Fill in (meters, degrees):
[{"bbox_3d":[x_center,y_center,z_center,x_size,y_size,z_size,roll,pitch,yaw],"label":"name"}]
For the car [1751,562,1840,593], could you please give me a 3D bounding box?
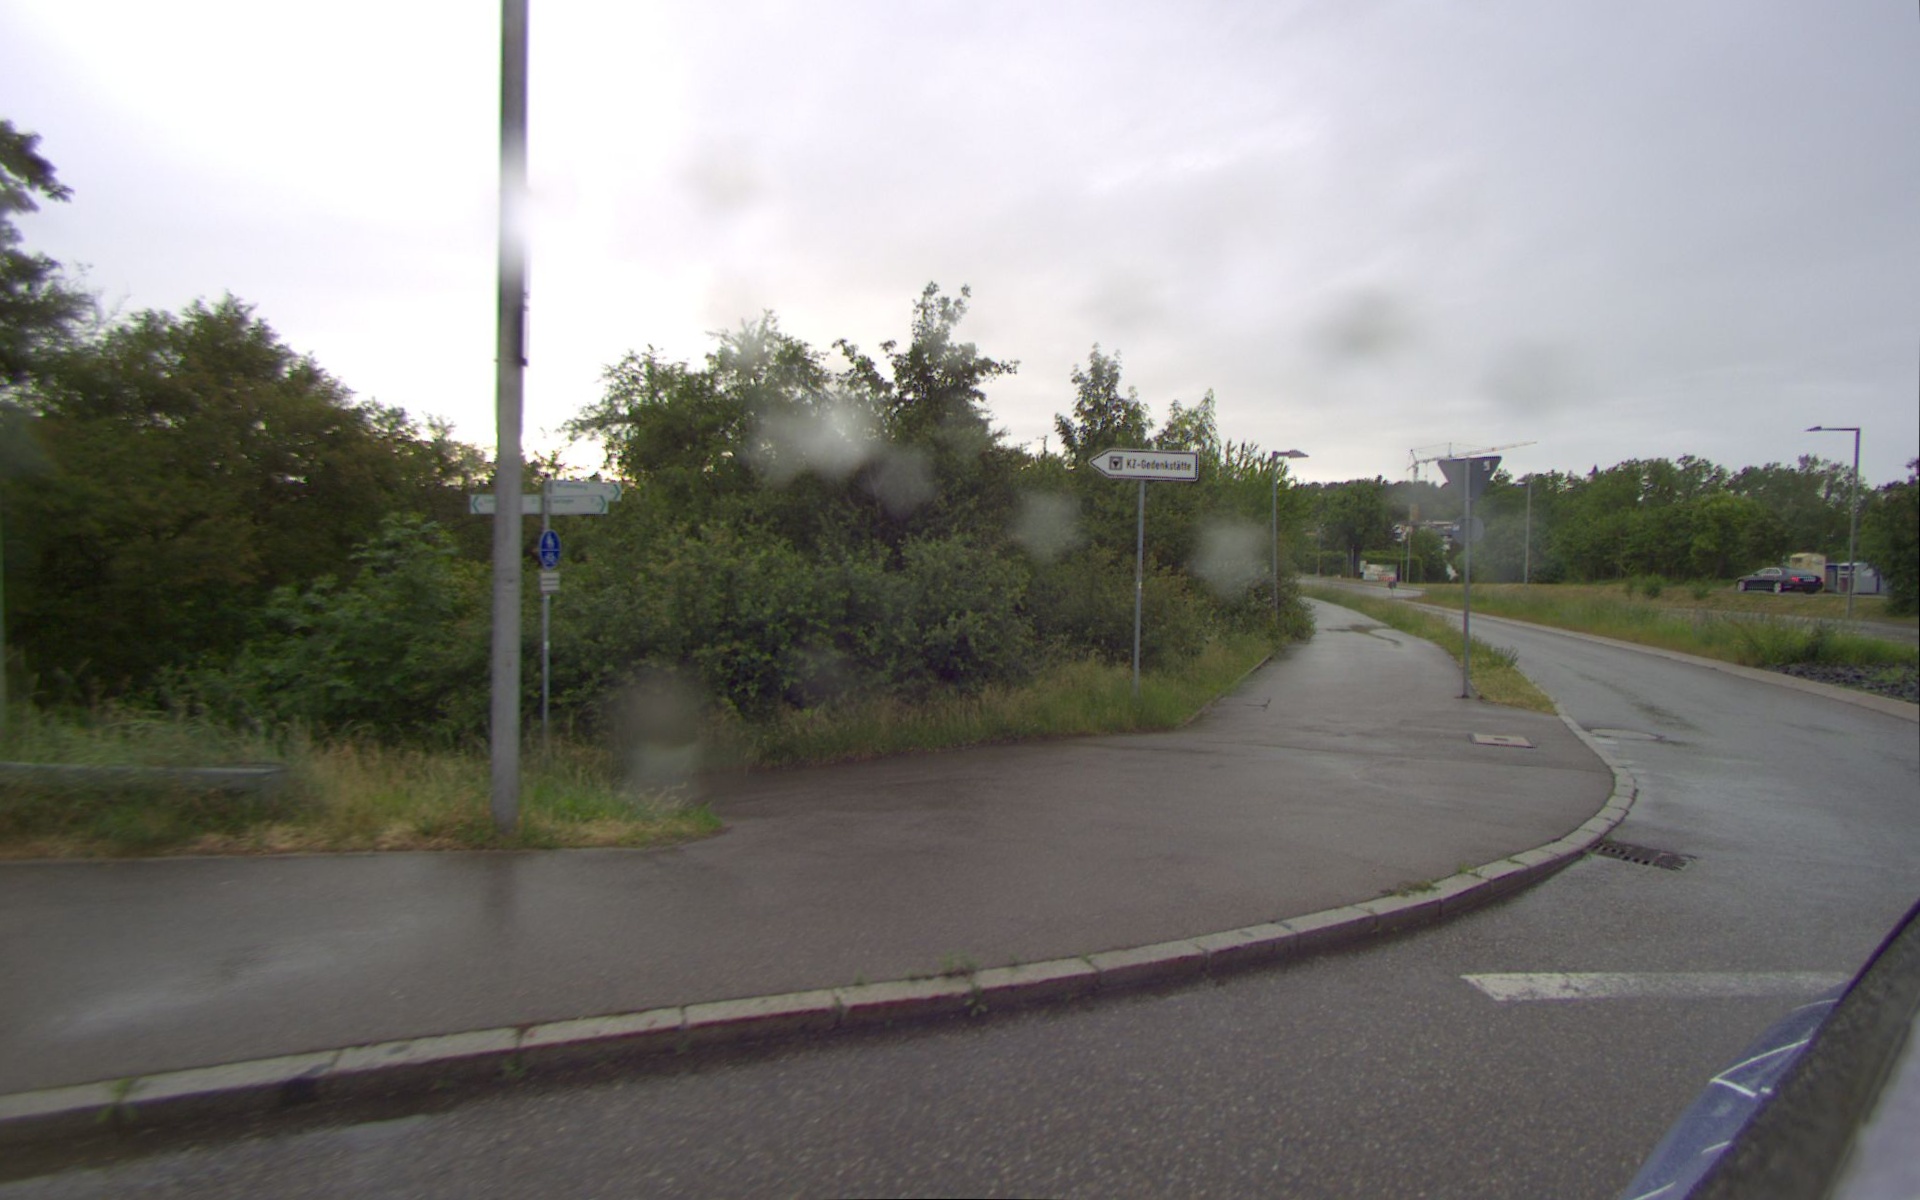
[{"bbox_3d":[46.349,-1.244,56.287,1.668,1.588,4.531,-1,1,9],"label":"car"}]
